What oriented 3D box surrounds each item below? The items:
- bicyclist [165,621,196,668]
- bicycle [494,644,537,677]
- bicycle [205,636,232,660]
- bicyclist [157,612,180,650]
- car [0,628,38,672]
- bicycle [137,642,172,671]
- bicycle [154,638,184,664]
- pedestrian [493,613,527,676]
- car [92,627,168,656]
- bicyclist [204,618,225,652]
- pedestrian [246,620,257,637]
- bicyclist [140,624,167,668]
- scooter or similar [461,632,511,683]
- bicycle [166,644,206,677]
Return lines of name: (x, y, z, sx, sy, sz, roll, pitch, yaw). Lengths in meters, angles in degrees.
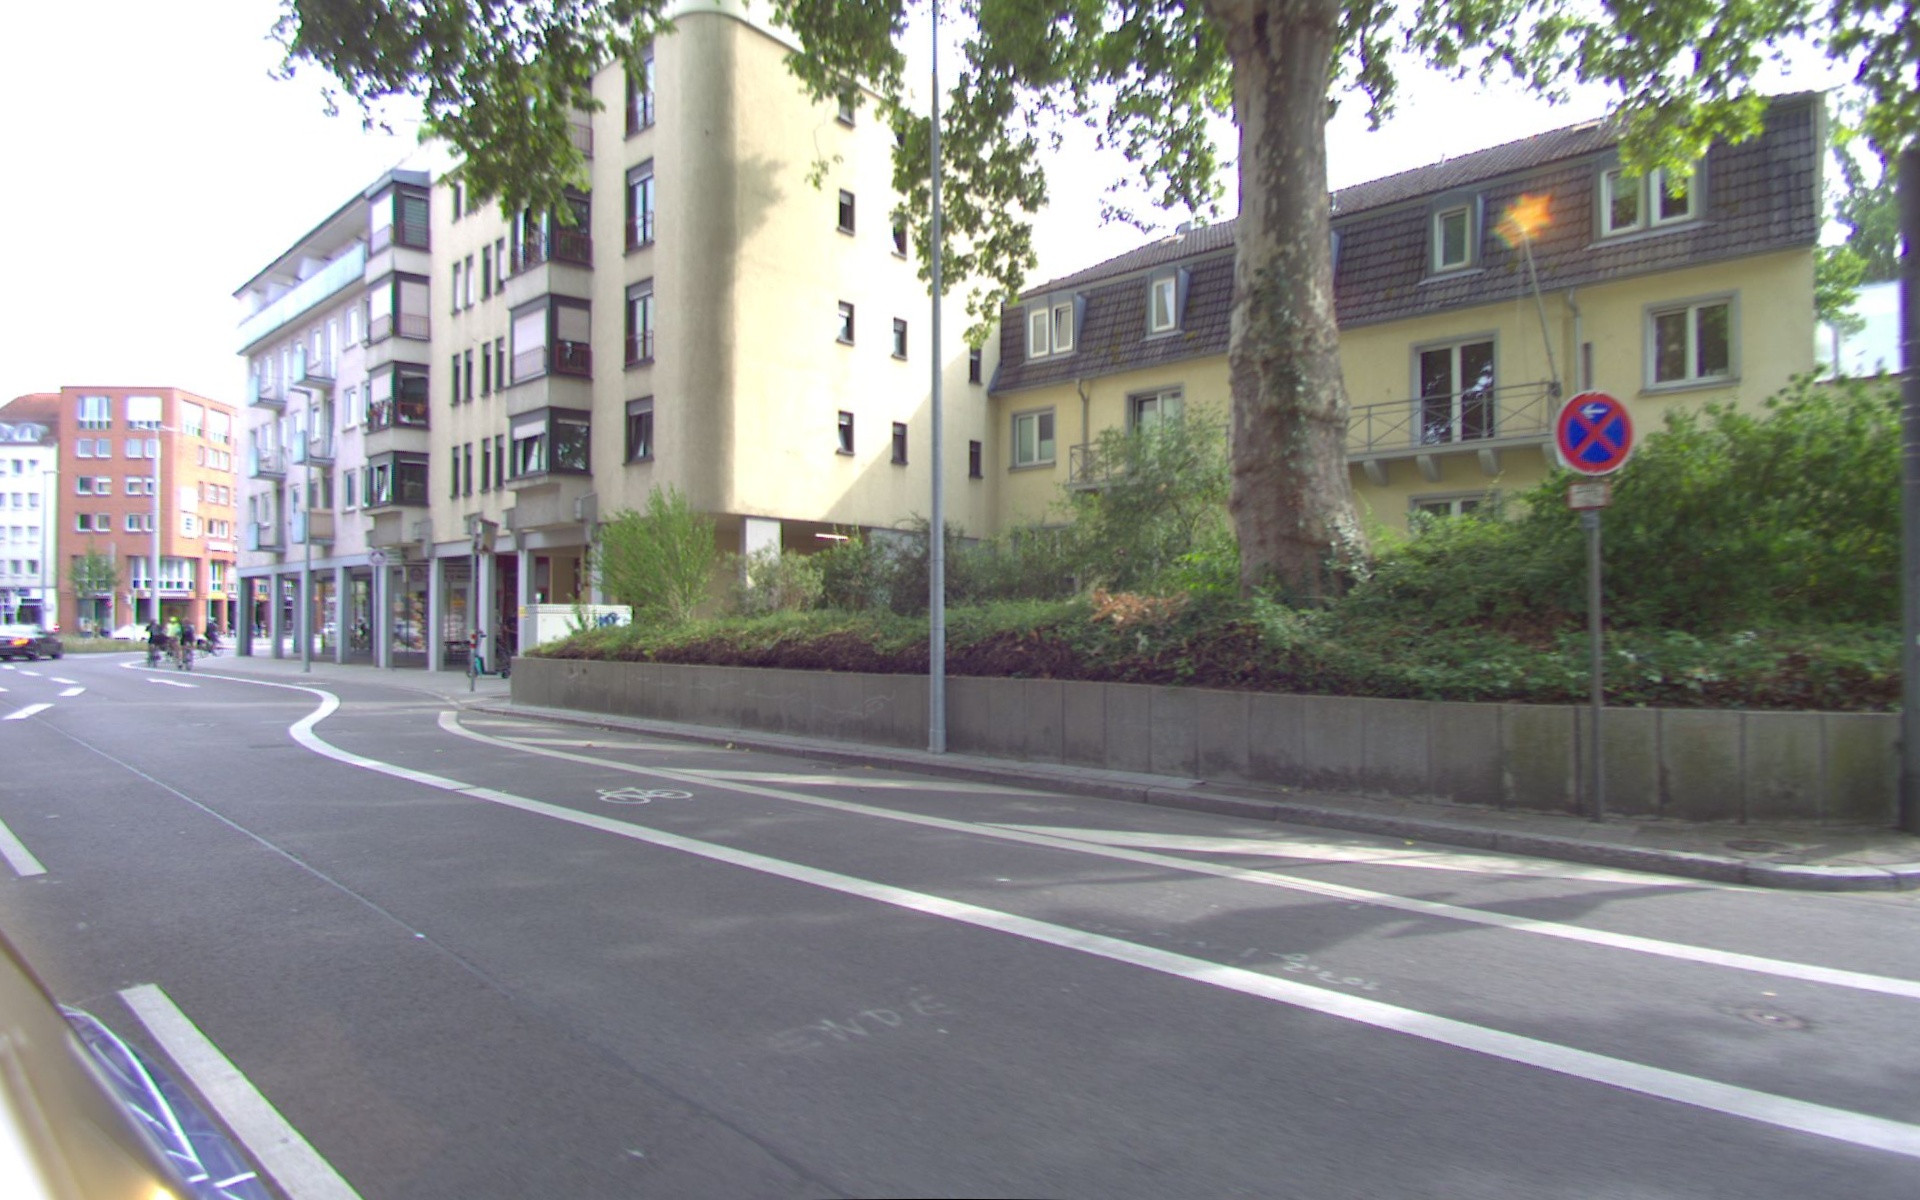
bicyclist: (-26.027, 1.476, 33.789, 0.649, 1.537, 1.077, -1, -2, -45)
bicycle: (-12.195, 1.650, 27.755, 1.618, 0.827, 0.425, -1, -2, 42)
bicycle: (-34.251, 2.199, 46.712, 0.729, 1.014, 1.910, 1, 1, -44)
bicyclist: (-32.929, 1.292, 42.094, 0.649, 1.537, 0.841, -1, -2, -45)
car: (-37.494, 1.983, 39.358, 4.603, 1.419, 1.792, -8, -6, 39)
bicycle: (-29.274, 2.046, 36.776, 1.976, 1.014, 0.729, -3, -1, 44)
bicycle: (-33.025, 2.143, 42.222, 0.729, 1.014, 2.253, -1, -2, -44)
pedestrian: (-12.851, 1.253, 28.910, 0.783, 1.770, 0.575, -1, 0, 41)
car: (-57.887, 2.889, 70.676, 1.973, 1.893, 3.996, 0, -1, 3)
bicyclist: (-34.444, 1.617, 46.749, 0.649, 1.537, 1.003, -1, 1, -45)
pedestrian: (-68.629, 2.760, 98.057, 0.631, 1.700, 0.601, 0, -2, -4)
bicyclist: (-29.289, 1.674, 36.743, 0.649, 1.537, 0.857, -1, -2, -45)
scooter or similar: (-12.029, 1.456, 25.694, 1.161, 1.274, 0.286, 0, -2, 4)
bicycle: (-25.753, 2.001, 33.649, 2.196, 1.014, 0.729, -3, -1, 44)
